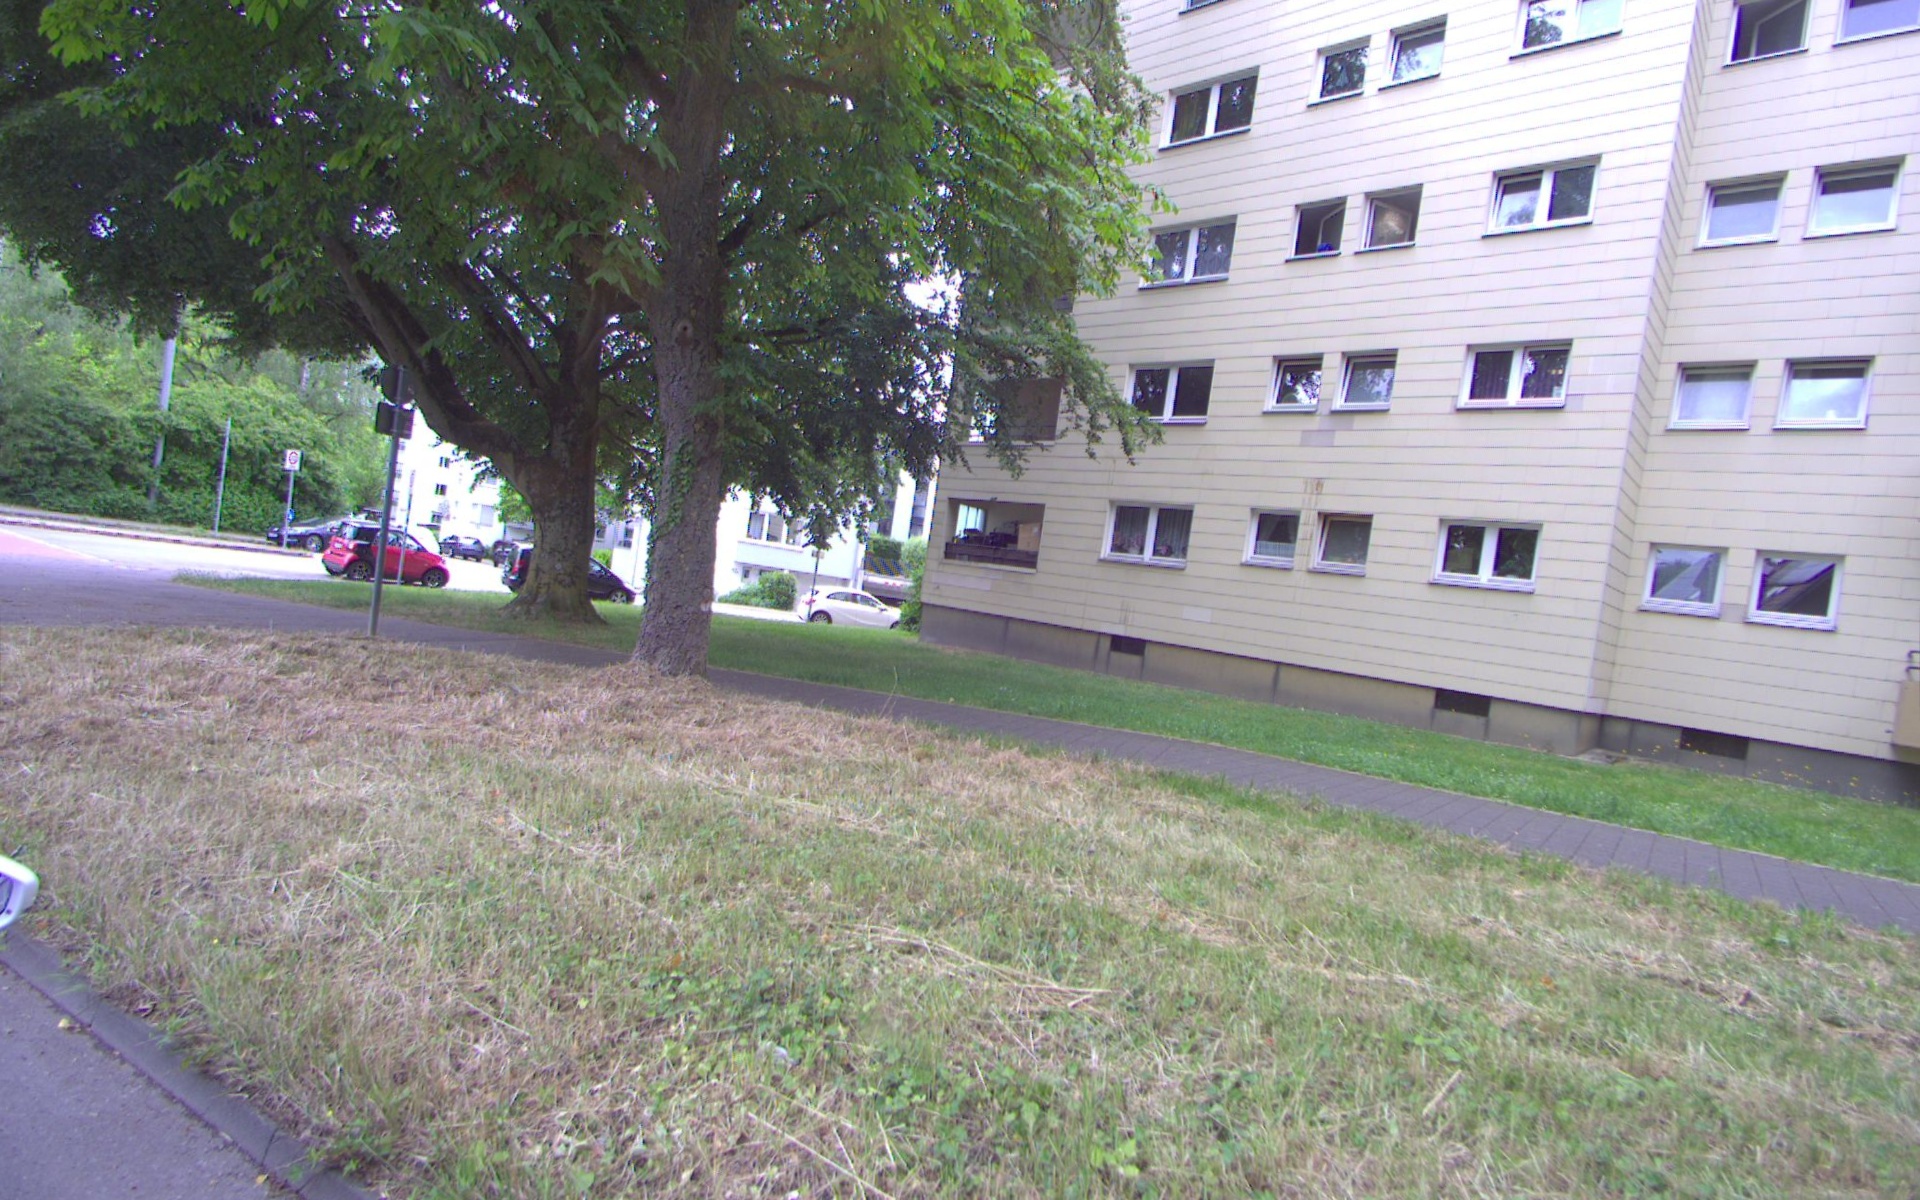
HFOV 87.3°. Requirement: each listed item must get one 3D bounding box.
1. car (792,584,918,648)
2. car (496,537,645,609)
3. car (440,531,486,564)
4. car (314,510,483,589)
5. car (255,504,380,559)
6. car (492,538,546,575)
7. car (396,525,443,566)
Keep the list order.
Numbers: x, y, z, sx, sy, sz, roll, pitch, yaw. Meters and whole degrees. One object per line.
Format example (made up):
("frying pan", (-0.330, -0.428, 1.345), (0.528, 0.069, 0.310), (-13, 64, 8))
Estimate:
("car", (-3.522, 0.521, 33.663), (3.796, 1.631, 1.721), (7, 1, -18))
("car", (-11.686, -0.795, 30.256), (3.815, 1.631, 1.713), (7, 1, -33))
("car", (-30.802, -3.258, 62.314), (1.713, 1.631, 3.812), (6, 1, -38))
("car", (-15.150, -1.330, 27.274), (1.701, 1.631, 3.516), (8, 1, 37))
("car", (-24.043, -2.553, 37.738), (1.702, 1.549, 3.515), (8, 1, 38))
("car", (-23.862, -2.363, 54.377), (1.713, 1.631, 3.812), (6, 1, -38))
("car", (-25.538, -2.603, 47.486), (1.709, 1.631, 3.823), (6, 1, -30))
